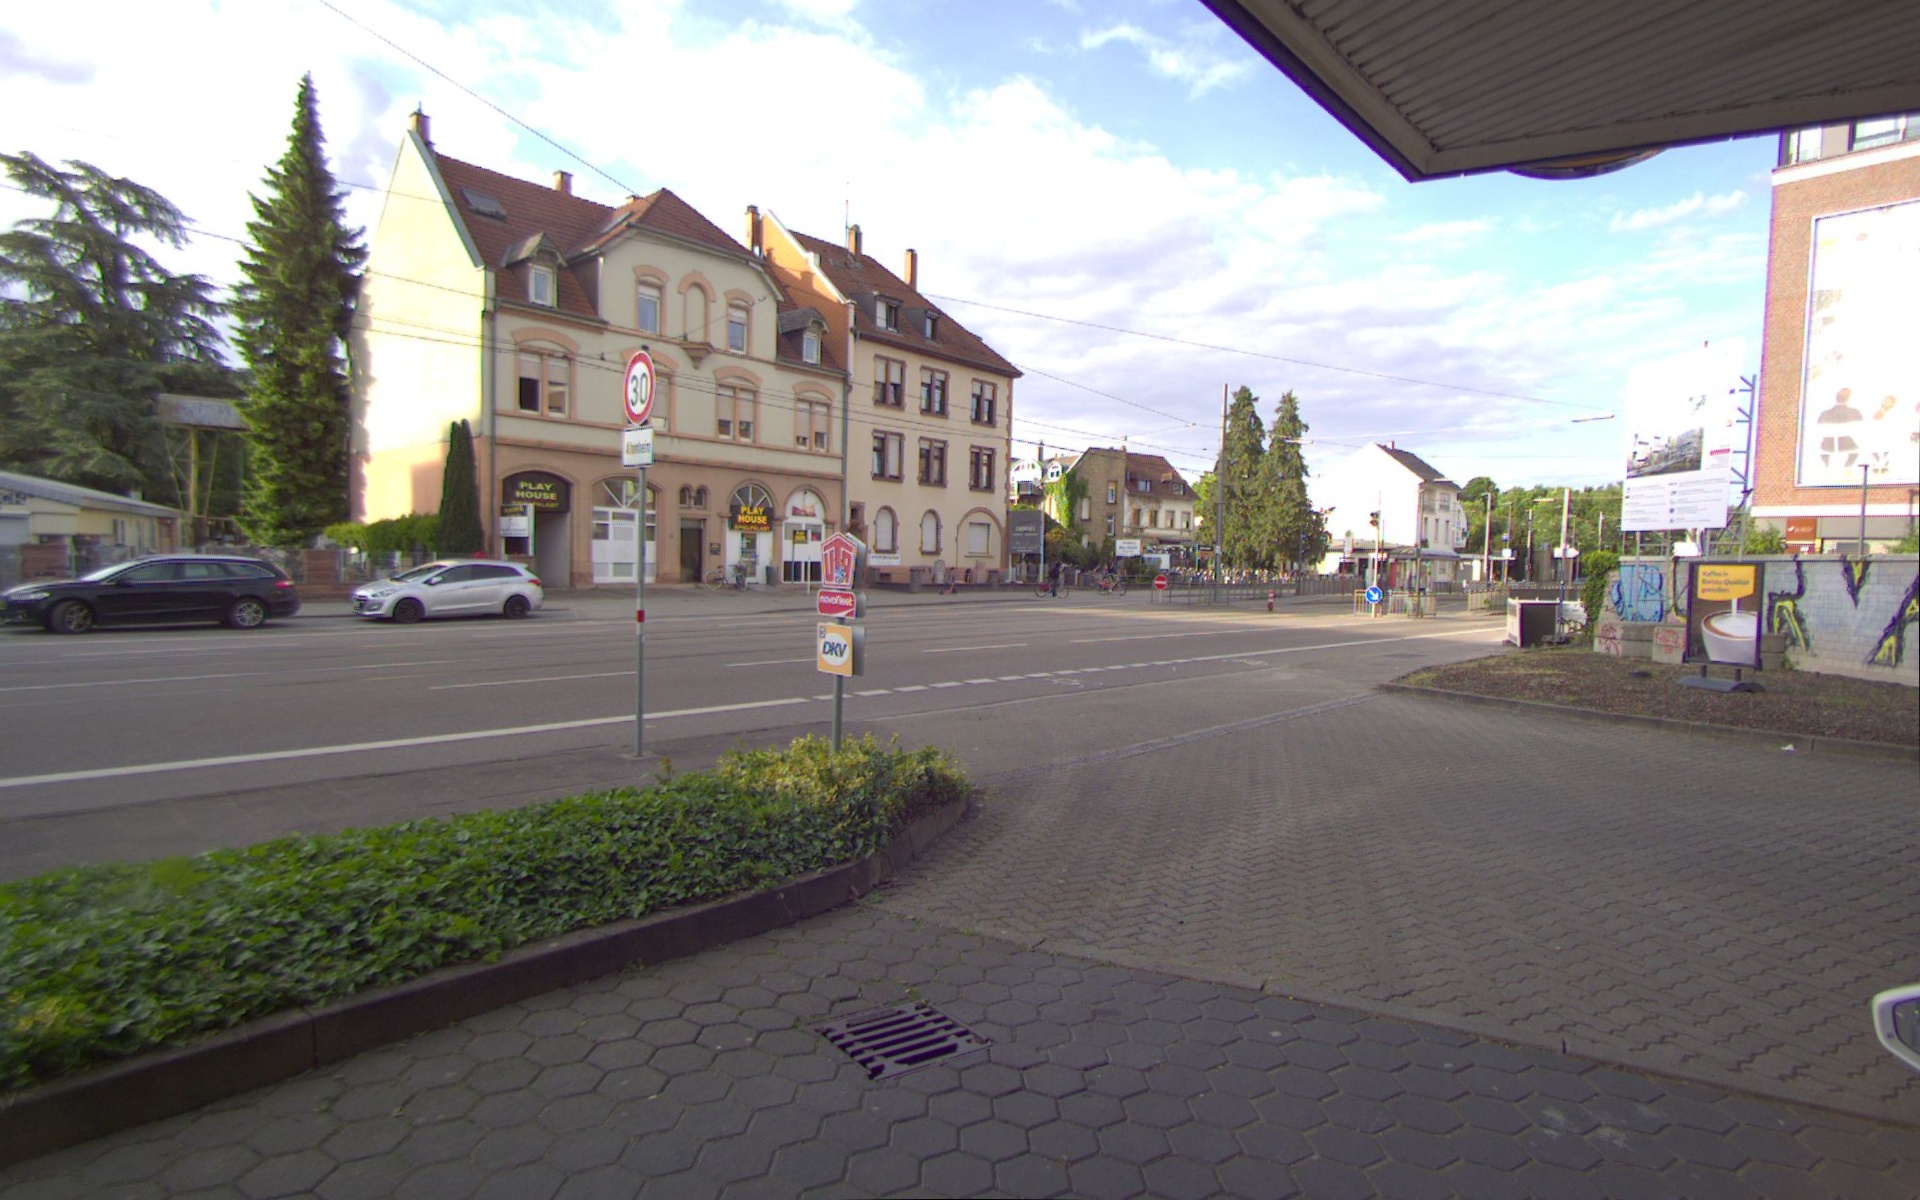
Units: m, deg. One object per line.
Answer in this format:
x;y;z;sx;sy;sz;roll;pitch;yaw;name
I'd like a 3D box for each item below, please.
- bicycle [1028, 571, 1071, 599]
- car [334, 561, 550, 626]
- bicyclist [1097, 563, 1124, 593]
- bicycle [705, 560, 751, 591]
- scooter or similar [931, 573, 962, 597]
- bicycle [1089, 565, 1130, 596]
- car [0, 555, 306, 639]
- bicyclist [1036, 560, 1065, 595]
4.346;-0.707;48.572;1.884;1.219;0.839;1;6;-31;bicycle
-13.002;-0.238;25.461;1.970;1.495;4.467;3;3;40;car
7.955;-1.175;53.046;1.079;1.512;0.785;2;4;-20;bicyclist
-9.145;-0.947;39.705;0.508;1.189;1.809;4;2;40;bicycle
-0.599;-0.683;45.132;0.488;1.015;1.592;5;5;39;scooter or similar
7.902;-1.041;53.036;1.962;1.512;0.785;2;4;-21;bicycle
-16.570;-0.140;20.728;1.970;1.516;4.801;3;3;40;car
4.375;-1.098;48.527;0.953;1.579;0.839;1;6;-31;bicyclist
